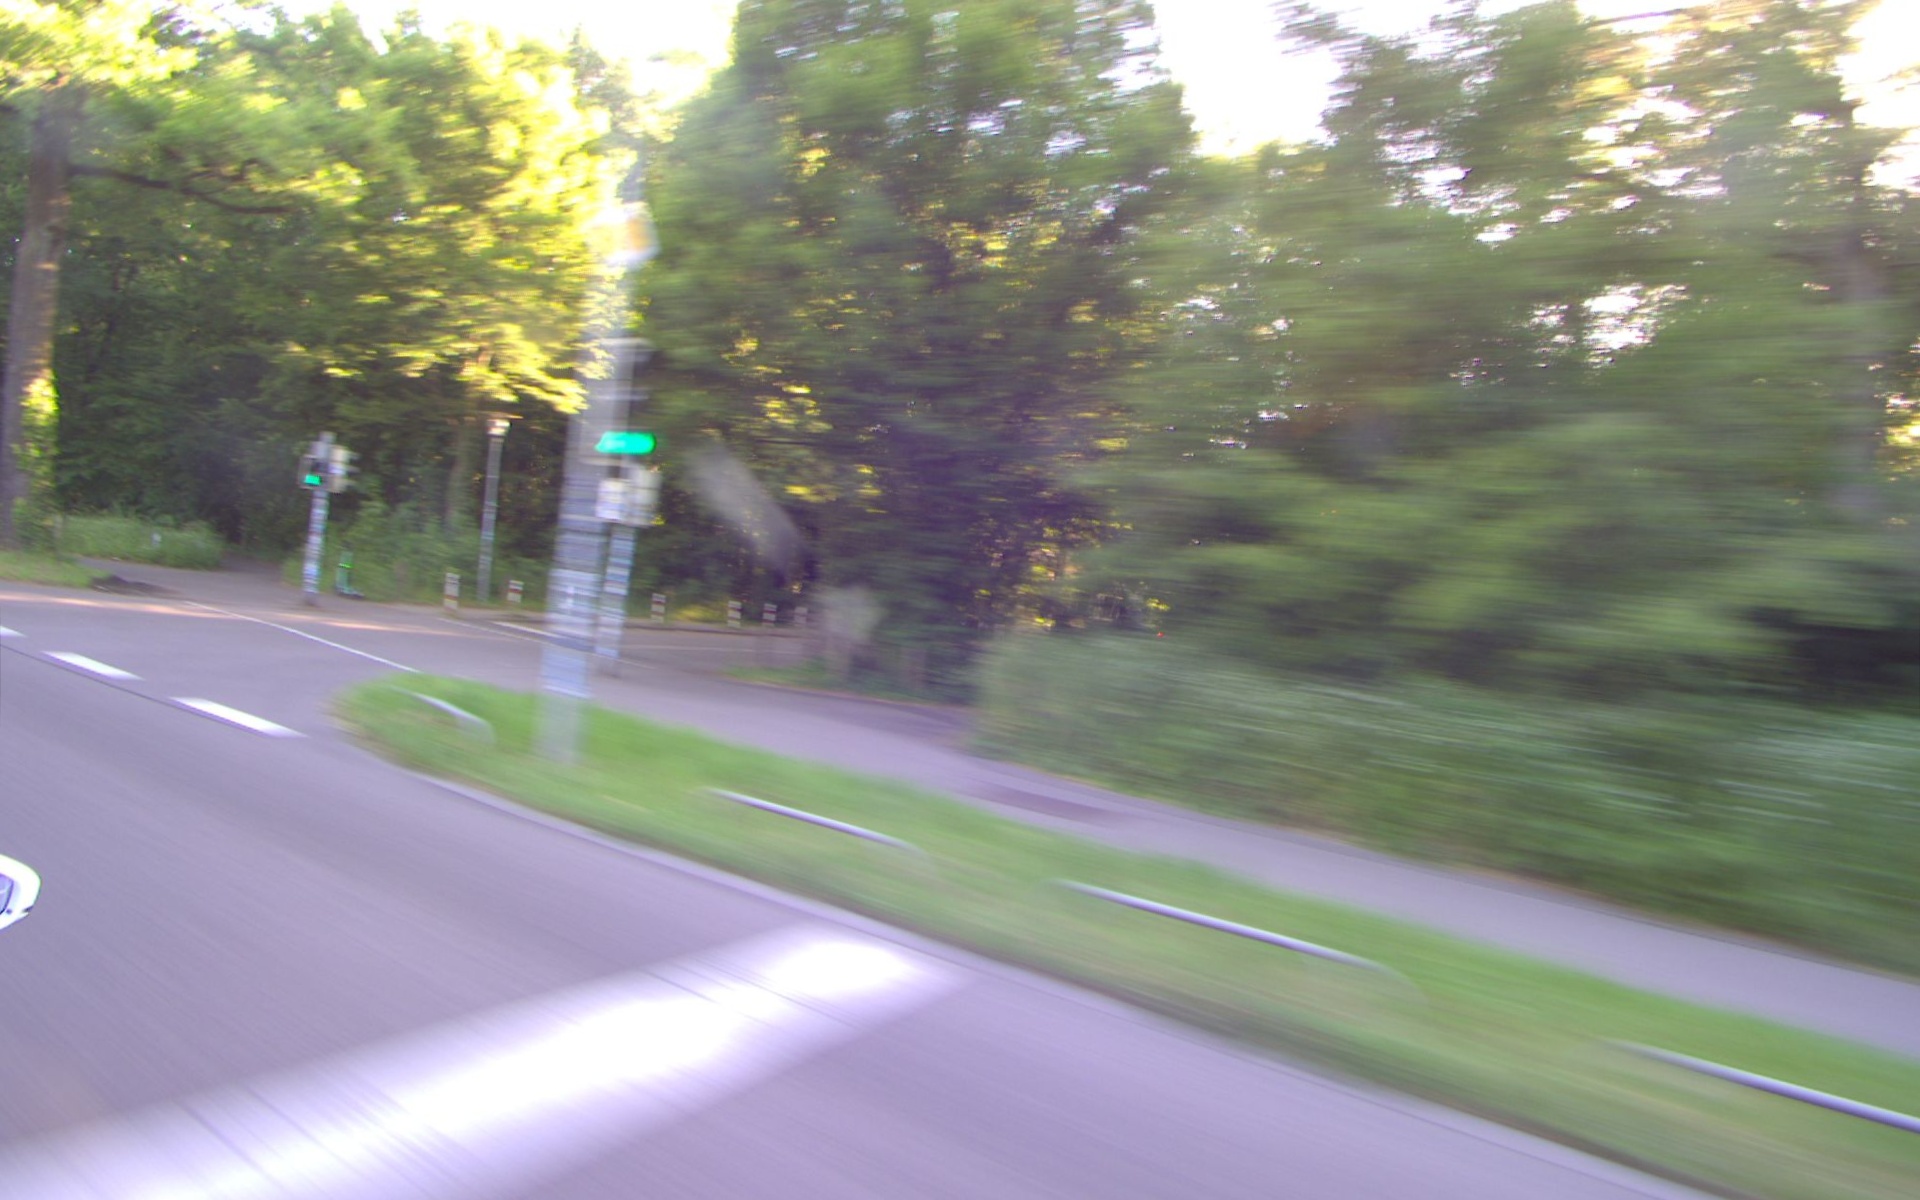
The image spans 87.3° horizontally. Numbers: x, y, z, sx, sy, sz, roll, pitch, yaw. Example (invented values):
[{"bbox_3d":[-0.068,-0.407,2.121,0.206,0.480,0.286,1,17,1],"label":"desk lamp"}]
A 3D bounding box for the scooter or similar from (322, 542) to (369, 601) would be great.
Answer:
[{"bbox_3d":[-13.432,-0.636,21.984,1.205,1.158,0.378,7,0,39],"label":"scooter or similar"}]
